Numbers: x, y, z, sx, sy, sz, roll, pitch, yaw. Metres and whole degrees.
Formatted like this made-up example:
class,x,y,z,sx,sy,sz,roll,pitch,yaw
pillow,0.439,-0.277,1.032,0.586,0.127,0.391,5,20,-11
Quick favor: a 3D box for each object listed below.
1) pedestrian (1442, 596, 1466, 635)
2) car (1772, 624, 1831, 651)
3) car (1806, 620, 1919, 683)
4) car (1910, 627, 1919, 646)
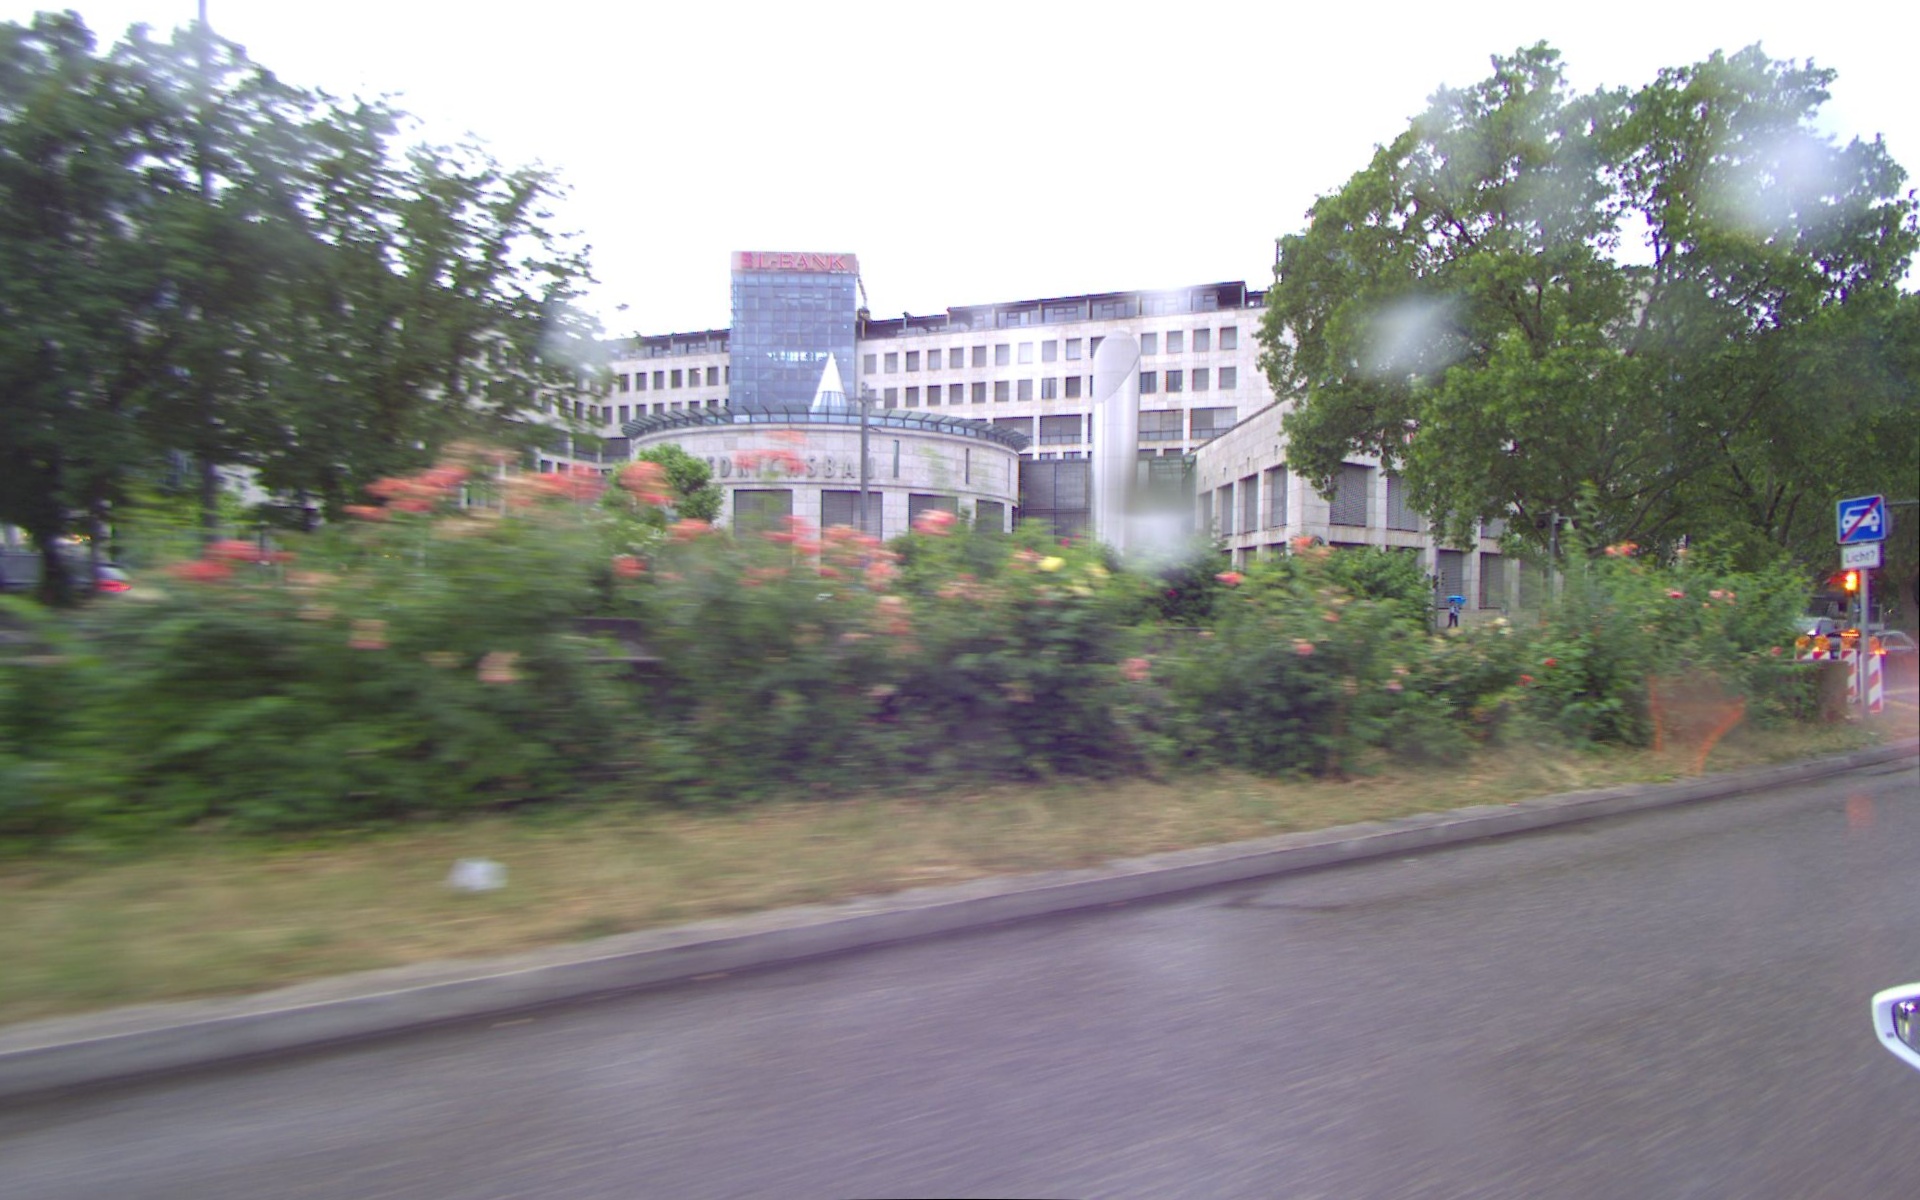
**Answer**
class,x,y,z,sx,sy,sz,roll,pitch,yaw
pedestrian,26.721,0.833,54.362,0.939,2.041,0.778,0,3,-38
car,49.231,2.193,58.731,4.459,1.530,1.781,1,-2,-38
car,25.927,1.431,28.720,3.959,1.641,1.688,1,0,-35
car,79.981,3.043,82.766,4.459,1.530,1.781,1,-2,-38
